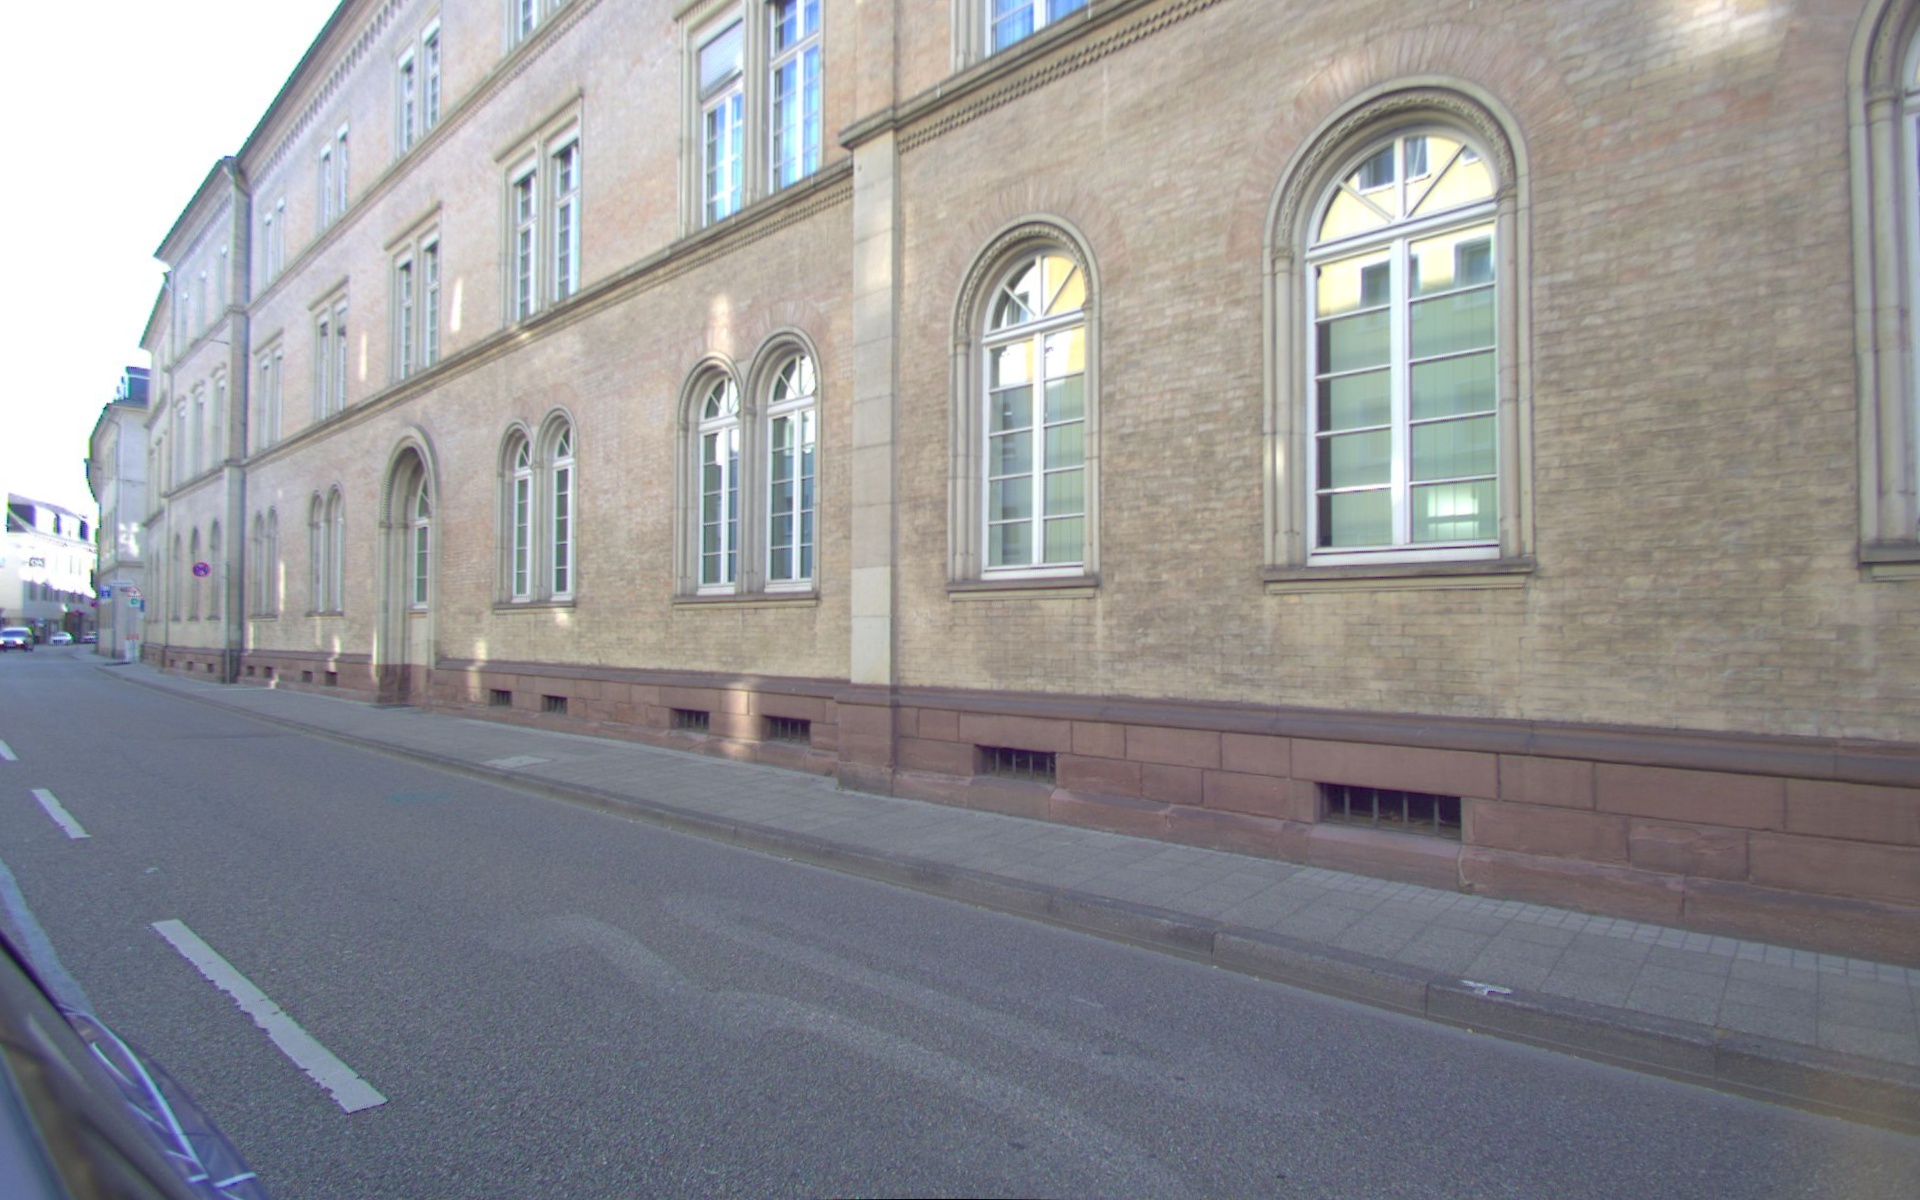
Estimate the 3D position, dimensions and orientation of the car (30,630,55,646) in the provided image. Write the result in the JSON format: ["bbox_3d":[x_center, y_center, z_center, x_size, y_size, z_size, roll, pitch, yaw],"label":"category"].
[{"bbox_3d":[-102.432,4.227,112.986,1.511,1.737,3.749,1,-2,-34],"label":"car"}]

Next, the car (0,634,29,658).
[{"bbox_3d":[-71.215,3.414,75.863,1.894,1.735,4.968,1,-2,-40],"label":"car"}]

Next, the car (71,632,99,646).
[{"bbox_3d":[-109.326,4.901,126.498,1.896,1.737,4.242,1,-2,-31],"label":"car"}]

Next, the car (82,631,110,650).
[{"bbox_3d":[-80.253,3.782,93.996,1.638,1.737,3.748,1,-2,-36],"label":"car"}]
